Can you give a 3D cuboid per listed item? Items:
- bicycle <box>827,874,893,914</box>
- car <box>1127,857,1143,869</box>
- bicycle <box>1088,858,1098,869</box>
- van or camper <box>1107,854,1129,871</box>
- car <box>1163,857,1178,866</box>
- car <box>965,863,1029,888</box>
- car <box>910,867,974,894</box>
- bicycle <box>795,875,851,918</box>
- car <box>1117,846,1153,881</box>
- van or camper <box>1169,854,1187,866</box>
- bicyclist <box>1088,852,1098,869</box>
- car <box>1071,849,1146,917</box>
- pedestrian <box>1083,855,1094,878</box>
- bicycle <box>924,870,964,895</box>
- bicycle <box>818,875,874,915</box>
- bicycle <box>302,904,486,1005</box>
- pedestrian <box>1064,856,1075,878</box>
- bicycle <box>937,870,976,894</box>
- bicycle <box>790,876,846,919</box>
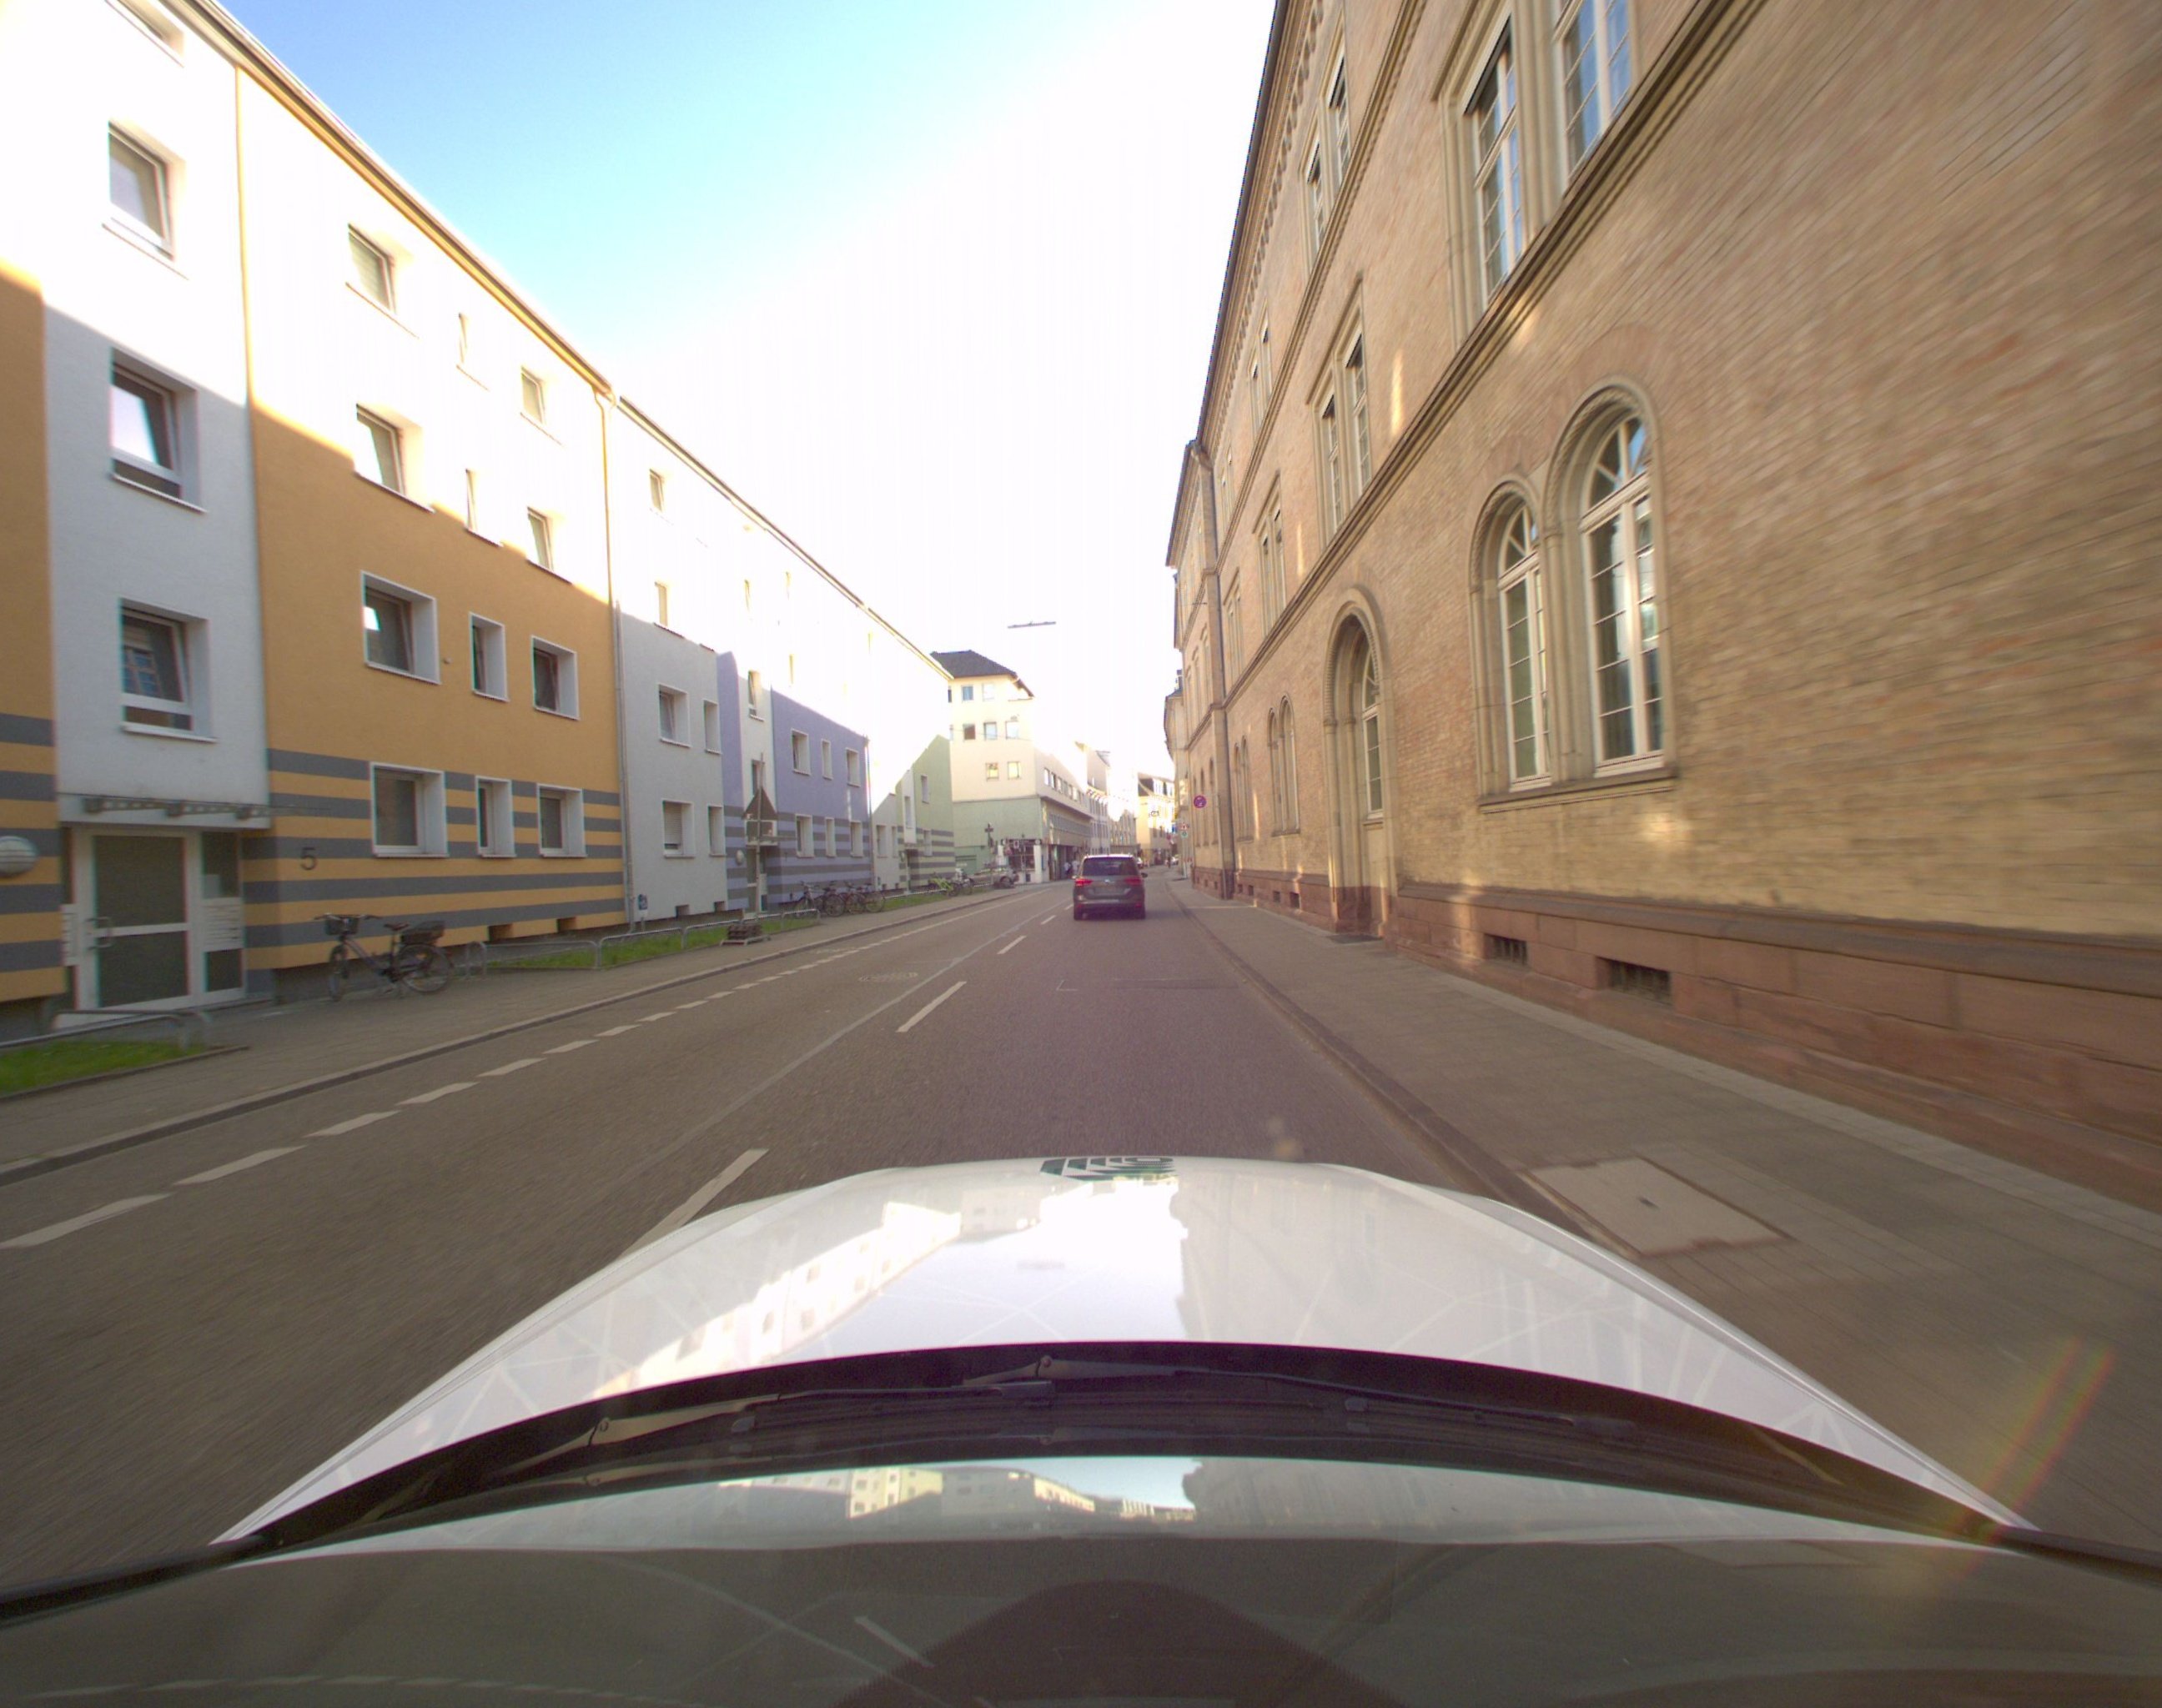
[{"bbox_3d":[-7.451,1.351,27.476,2.001,1.231,0.623,-3,-1,1],"label":"bicycle"},{"bbox_3d":[7.760,1.270,116.403,1.854,1.468,3.844,-3,0,9],"label":"car"},{"bbox_3d":[1.205,0.902,80.267,0.827,1.054,2.552,-3,0,5],"label":"bicycle"},{"bbox_3d":[4.626,1.011,100.385,1.981,2.013,4.496,-3,-1,10],"label":"van or camper"},{"bbox_3d":[16.135,1.347,146.171,1.719,1.468,4.019,-3,-1,19],"label":"car"},{"bbox_3d":[-5.858,1.521,57.174,4.077,1.443,1.951,-3,0,6],"label":"car"},{"bbox_3d":[-8.753,1.635,51.485,3.483,1.443,1.816,-3,0,6],"label":"car"},{"bbox_3d":[-8.085,1.327,25.534,1.578,1.241,0.449,-3,-1,1],"label":"bicycle"},{"bbox_3d":[3.187,0.549,48.496,1.985,1.882,4.003,-3,0,3],"label":"car"},{"bbox_3d":[18.122,1.148,151.785,1.977,2.013,5.024,-3,0,20],"label":"van or camper"},{"bbox_3d":[1.201,0.628,80.359,0.827,1.561,0.760,-3,-1,4],"label":"bicyclist"},{"bbox_3d":[0.765,0.702,21.210,1.754,1.607,4.004,0,0,3],"label":"car"},{"bbox_3d":[0.648,1.047,68.293,0.550,1.829,0.735,-3,-1,28],"label":"pedestrian"},{"bbox_3d":[-6.674,1.397,39.715,1.930,1.179,0.611,0,-1,-12],"label":"bicycle"},{"bbox_3d":[-7.717,1.339,26.770,1.633,1.241,0.467,-3,-1,1],"label":"bicycle"},{"bbox_3d":[-9.021,1.302,10.750,1.749,1.145,0.649,-3,-1,-6],"label":"bicycle"},{"bbox_3d":[-0.983,1.108,68.536,0.550,1.829,0.735,-3,-1,28],"label":"pedestrian"},{"bbox_3d":[-6.286,1.392,41.164,1.925,1.179,0.612,0,-1,-5],"label":"bicycle"},{"bbox_3d":[-8.104,1.342,25.116,1.573,1.241,0.384,-3,-1,1],"label":"bicycle"}]
